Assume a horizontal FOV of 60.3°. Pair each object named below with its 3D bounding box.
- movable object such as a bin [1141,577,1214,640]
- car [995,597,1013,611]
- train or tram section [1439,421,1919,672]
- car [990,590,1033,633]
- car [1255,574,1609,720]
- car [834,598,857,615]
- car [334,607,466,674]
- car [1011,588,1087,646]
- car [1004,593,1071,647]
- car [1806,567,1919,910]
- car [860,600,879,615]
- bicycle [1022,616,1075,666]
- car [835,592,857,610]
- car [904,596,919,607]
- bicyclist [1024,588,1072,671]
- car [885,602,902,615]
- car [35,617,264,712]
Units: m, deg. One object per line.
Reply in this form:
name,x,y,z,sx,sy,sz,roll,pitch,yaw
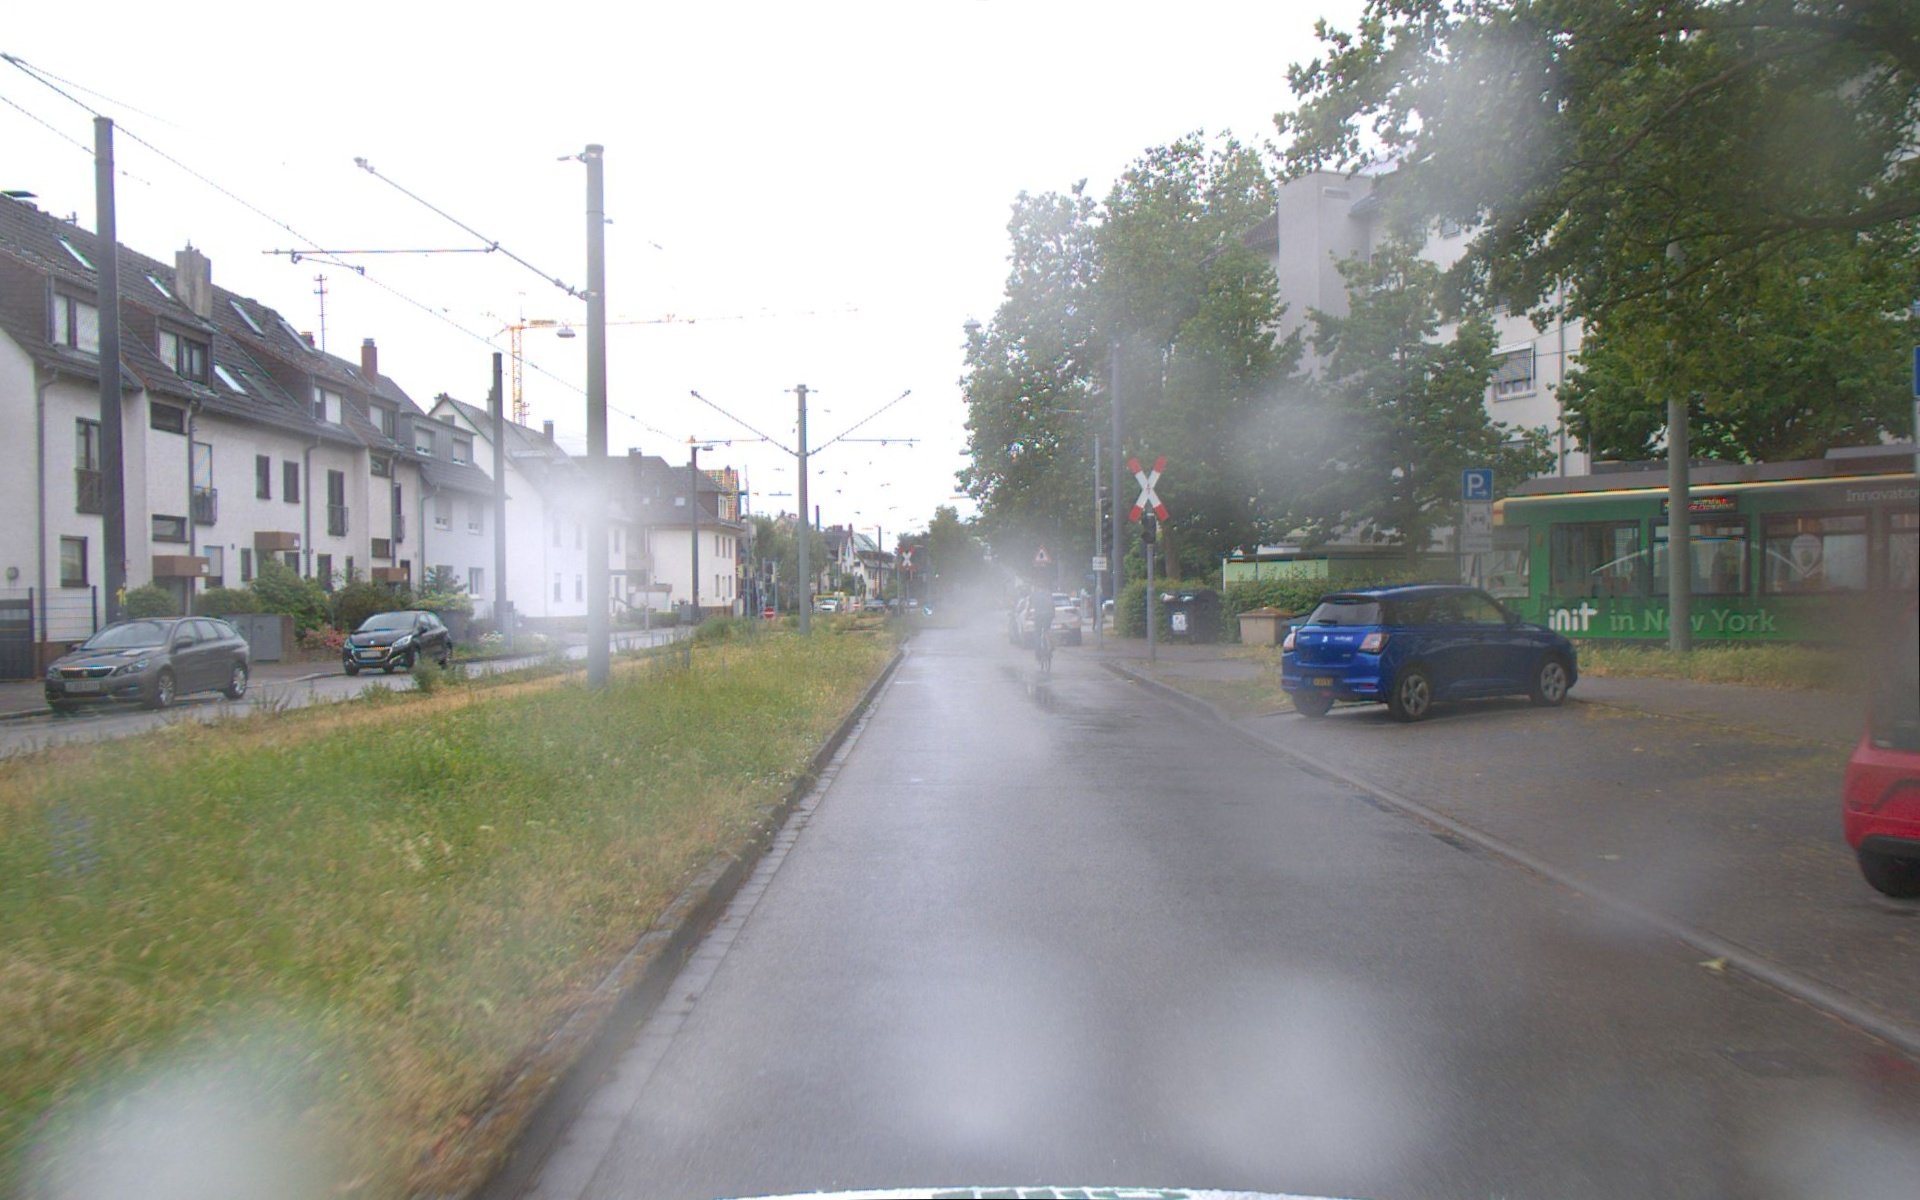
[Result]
movable object such as a bin,6.272,0.250,47.741,1.529,1.734,1.489,-2,0,-24
car,5.161,0.526,195.371,1.953,1.518,3.999,-1,-2,0
train or tram section,14.546,-0.761,25.428,2.693,3.653,14.504,1,-1,-43
car,2.611,0.615,84.786,1.902,2.048,3.998,-3,-1,-2
car,5.680,0.482,19.817,3.949,1.509,1.978,-2,2,-32
car,-11.447,0.675,165.759,1.952,1.571,4.000,-1,-2,1
car,-13.641,1.017,40.531,1.838,1.530,4.132,-1,-2,-1
car,2.647,0.516,49.964,1.915,1.580,3.998,-3,-1,-2
car,2.586,0.681,55.758,1.902,1.680,3.998,-3,-1,-2
car,5.937,0.538,7.867,3.545,1.506,1.623,-3,1,-27
car,-10.794,0.913,197.075,1.952,1.571,4.000,-1,-2,1
bicycle,1.740,0.798,32.782,0.805,0.928,1.984,-2,-1,-3
car,-11.796,0.111,171.608,1.952,1.735,4.000,-1,-2,1
car,-7.183,0.216,244.936,1.952,1.571,4.000,-1,-2,1
bicyclist,1.735,0.585,32.766,0.814,1.585,0.913,-2,-1,-3
car,-8.955,1.109,222.716,1.952,1.571,4.000,-1,-2,1
car,-13.503,1.078,27.887,1.568,1.449,4.665,-1,-2,0
